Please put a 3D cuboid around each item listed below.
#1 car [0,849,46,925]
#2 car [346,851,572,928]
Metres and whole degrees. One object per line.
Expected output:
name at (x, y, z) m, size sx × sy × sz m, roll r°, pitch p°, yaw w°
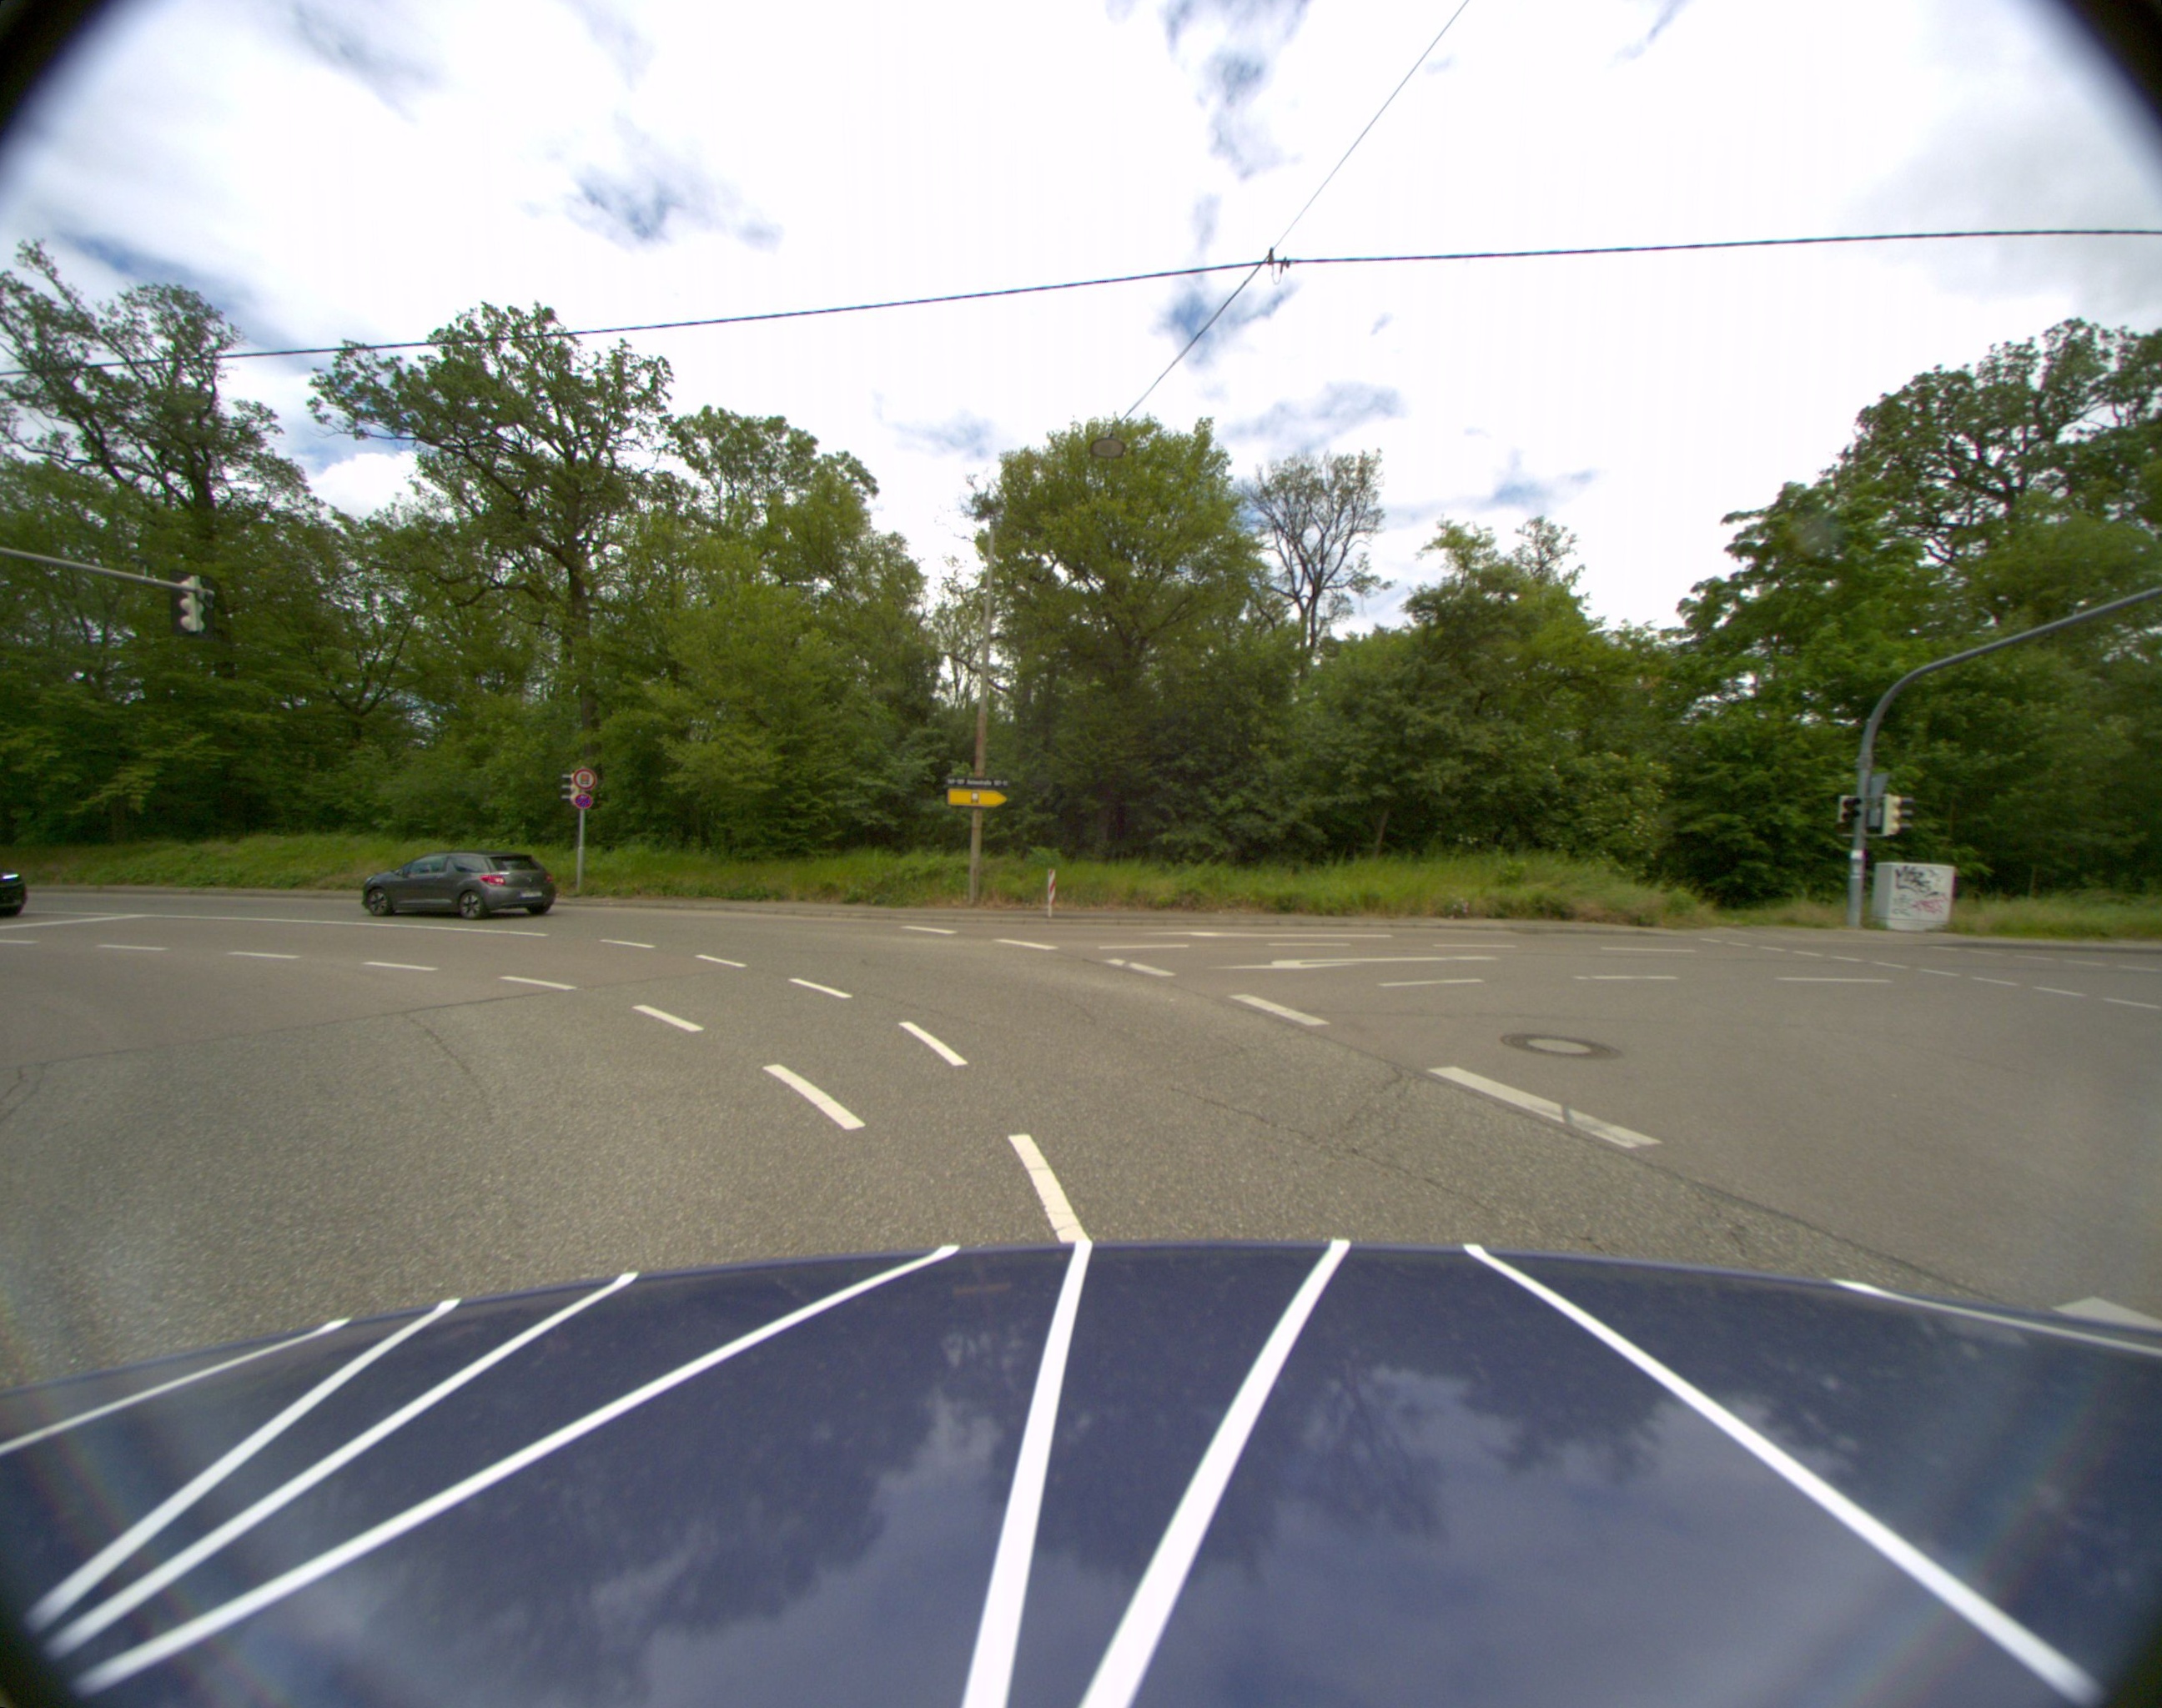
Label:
car at (-23.790, 0.664, 15.369) m, size 3.993 × 1.499 × 1.739 m, roll 1°, pitch 3°, yaw 10°
car at (-13.766, 0.740, 16.923) m, size 3.802 × 1.502 × 1.824 m, roll 1°, pitch 2°, yaw 10°
